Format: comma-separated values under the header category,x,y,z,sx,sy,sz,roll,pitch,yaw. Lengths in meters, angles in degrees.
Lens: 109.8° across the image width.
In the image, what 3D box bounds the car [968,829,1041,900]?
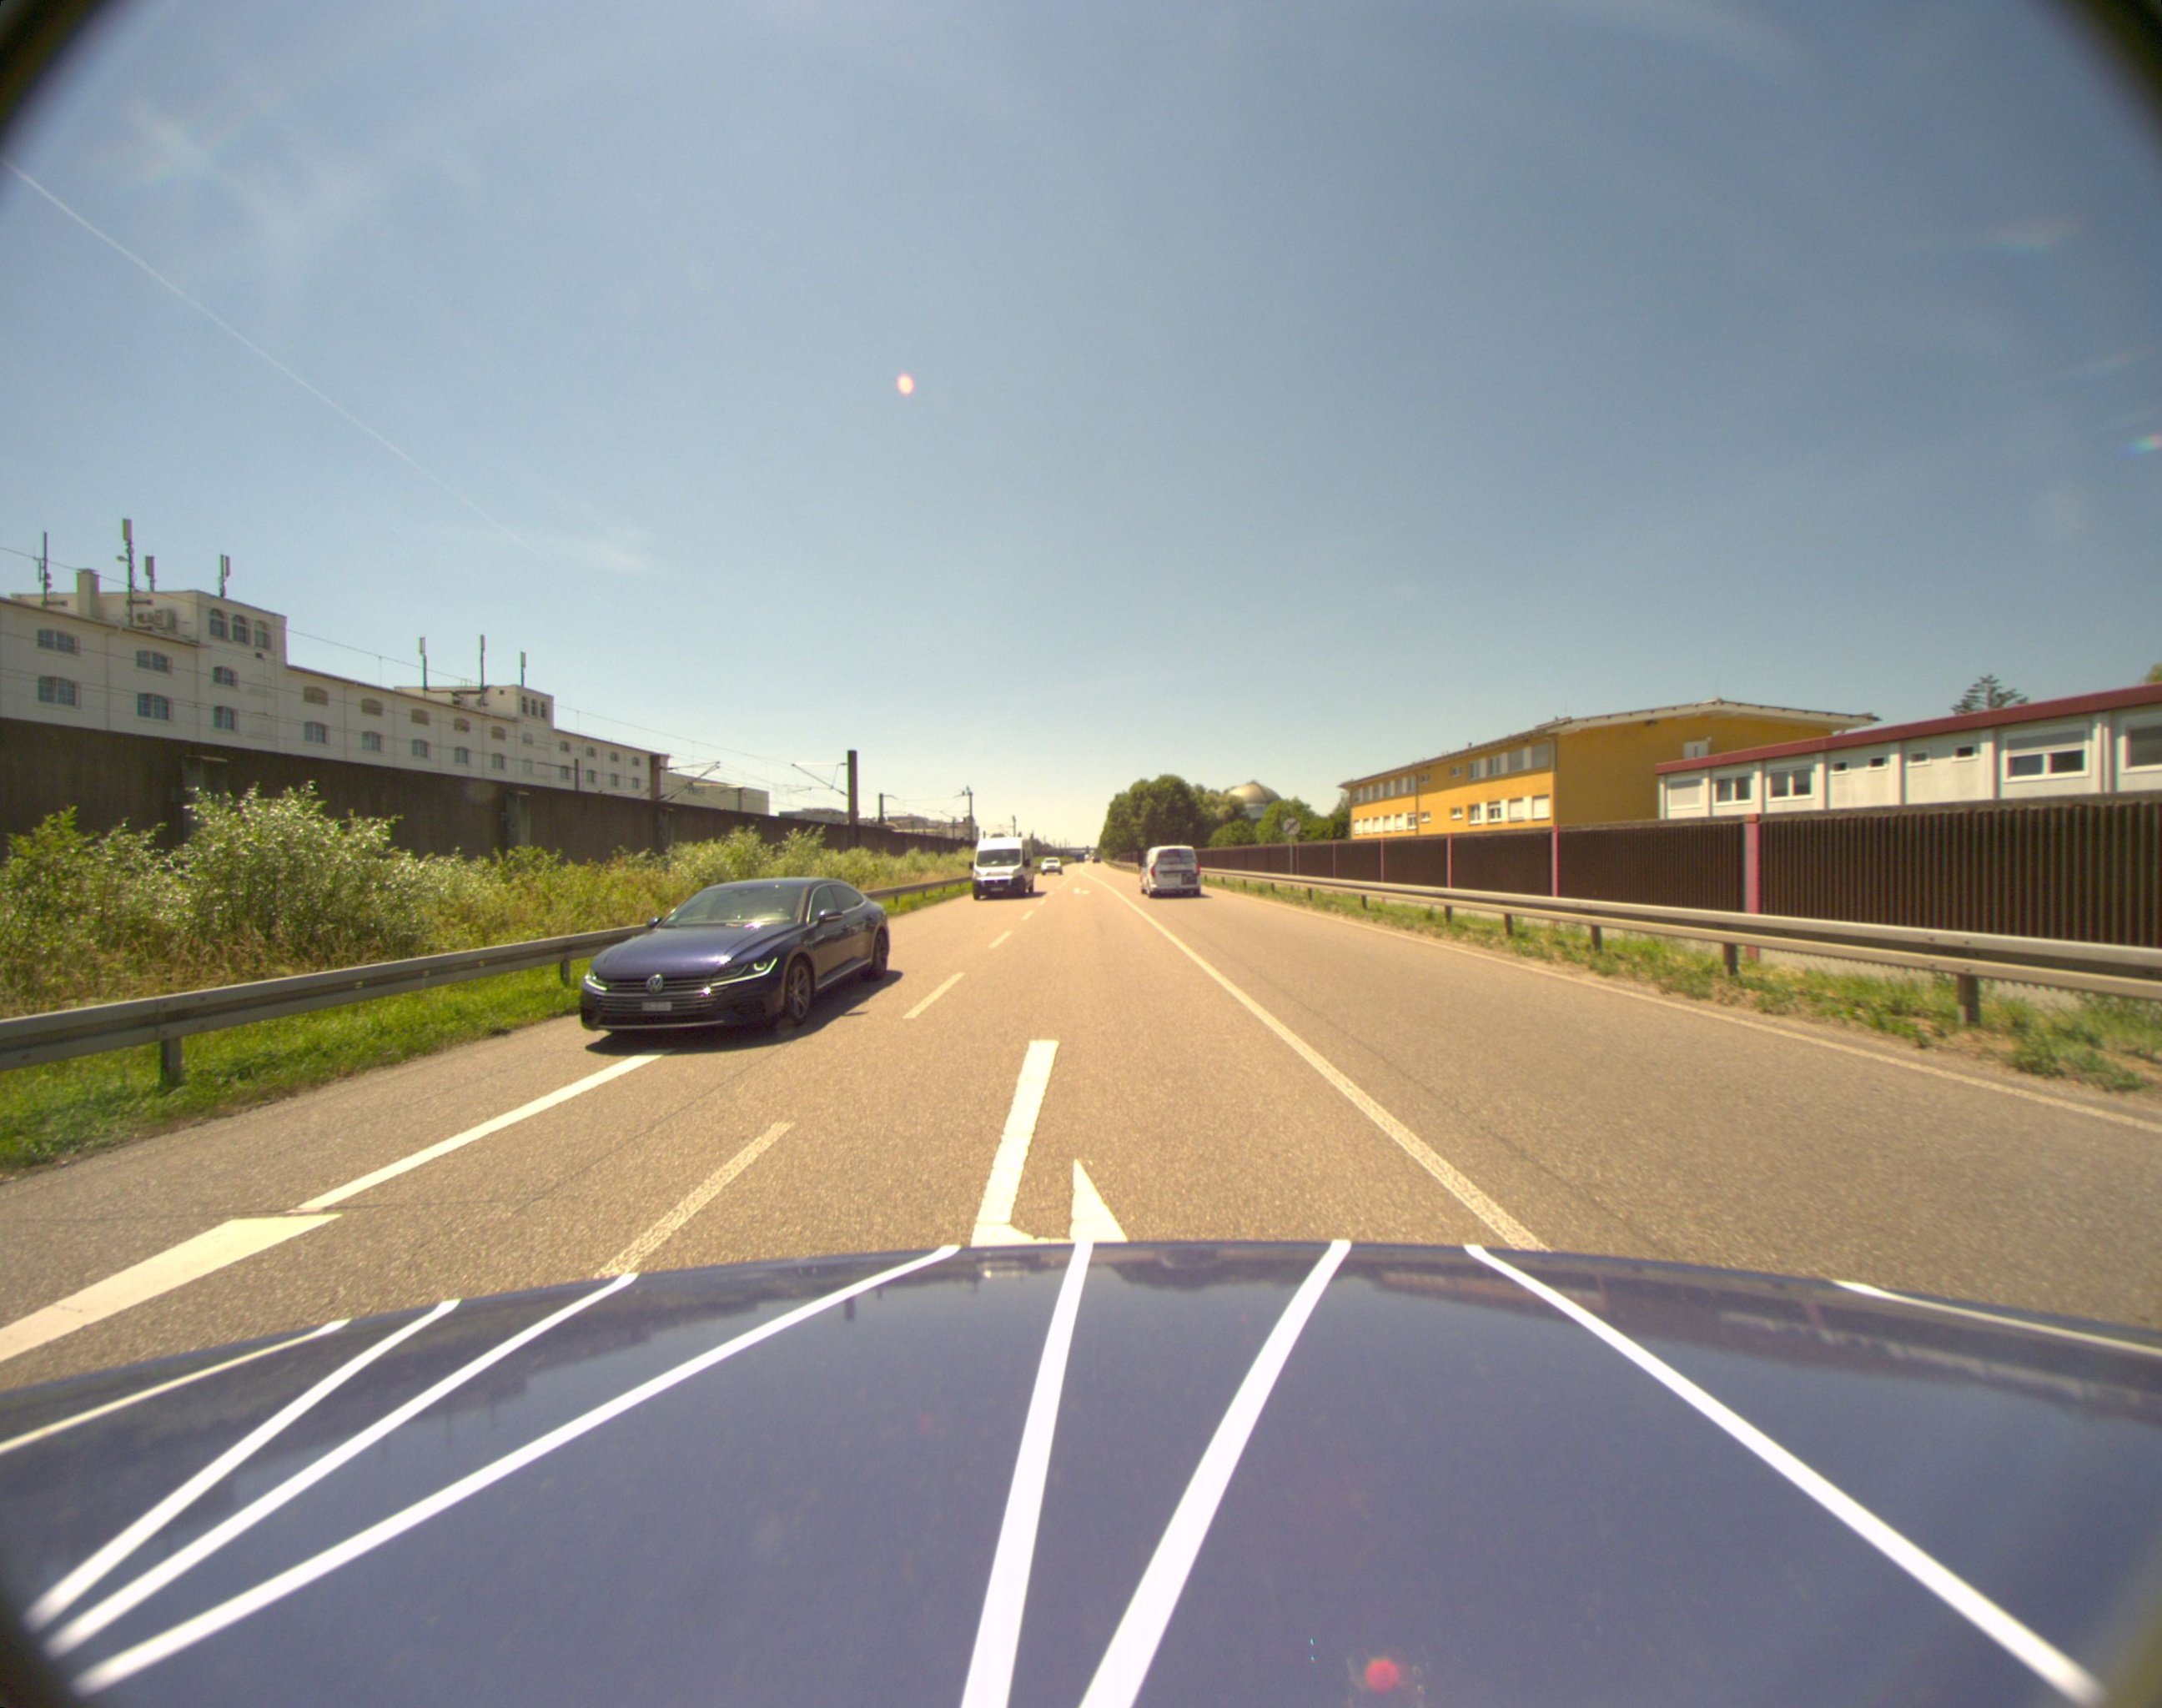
category,x,y,z,sx,sy,sz,roll,pitch,yaw
car,-3.057,0.405,32.159,2.194,2.589,6.750,-3,0,1

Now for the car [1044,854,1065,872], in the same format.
category,x,y,z,sx,sy,sz,roll,pitch,yaw
car,-2.420,0.822,69.384,1.822,1.554,4.278,-2,0,-1

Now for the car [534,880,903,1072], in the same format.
category,x,y,z,sx,sy,sz,roll,pitch,yaw
car,-3.553,1.096,8.583,1.861,1.371,4.503,-3,0,1

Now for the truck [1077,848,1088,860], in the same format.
category,x,y,z,sx,sy,sz,roll,pitch,yaw
truck,0.533,0.020,202.976,2.617,3.024,10.655,-2,0,1

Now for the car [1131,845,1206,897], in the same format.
category,x,y,z,sx,sy,sz,roll,pitch,yaw
car,3.133,0.577,28.268,1.892,1.730,4.775,-2,0,-4

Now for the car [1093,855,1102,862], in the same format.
category,x,y,z,sx,sy,sz,roll,pitch,yaw
car,3.695,1.031,166.926,1.849,1.382,4.190,-3,0,1
